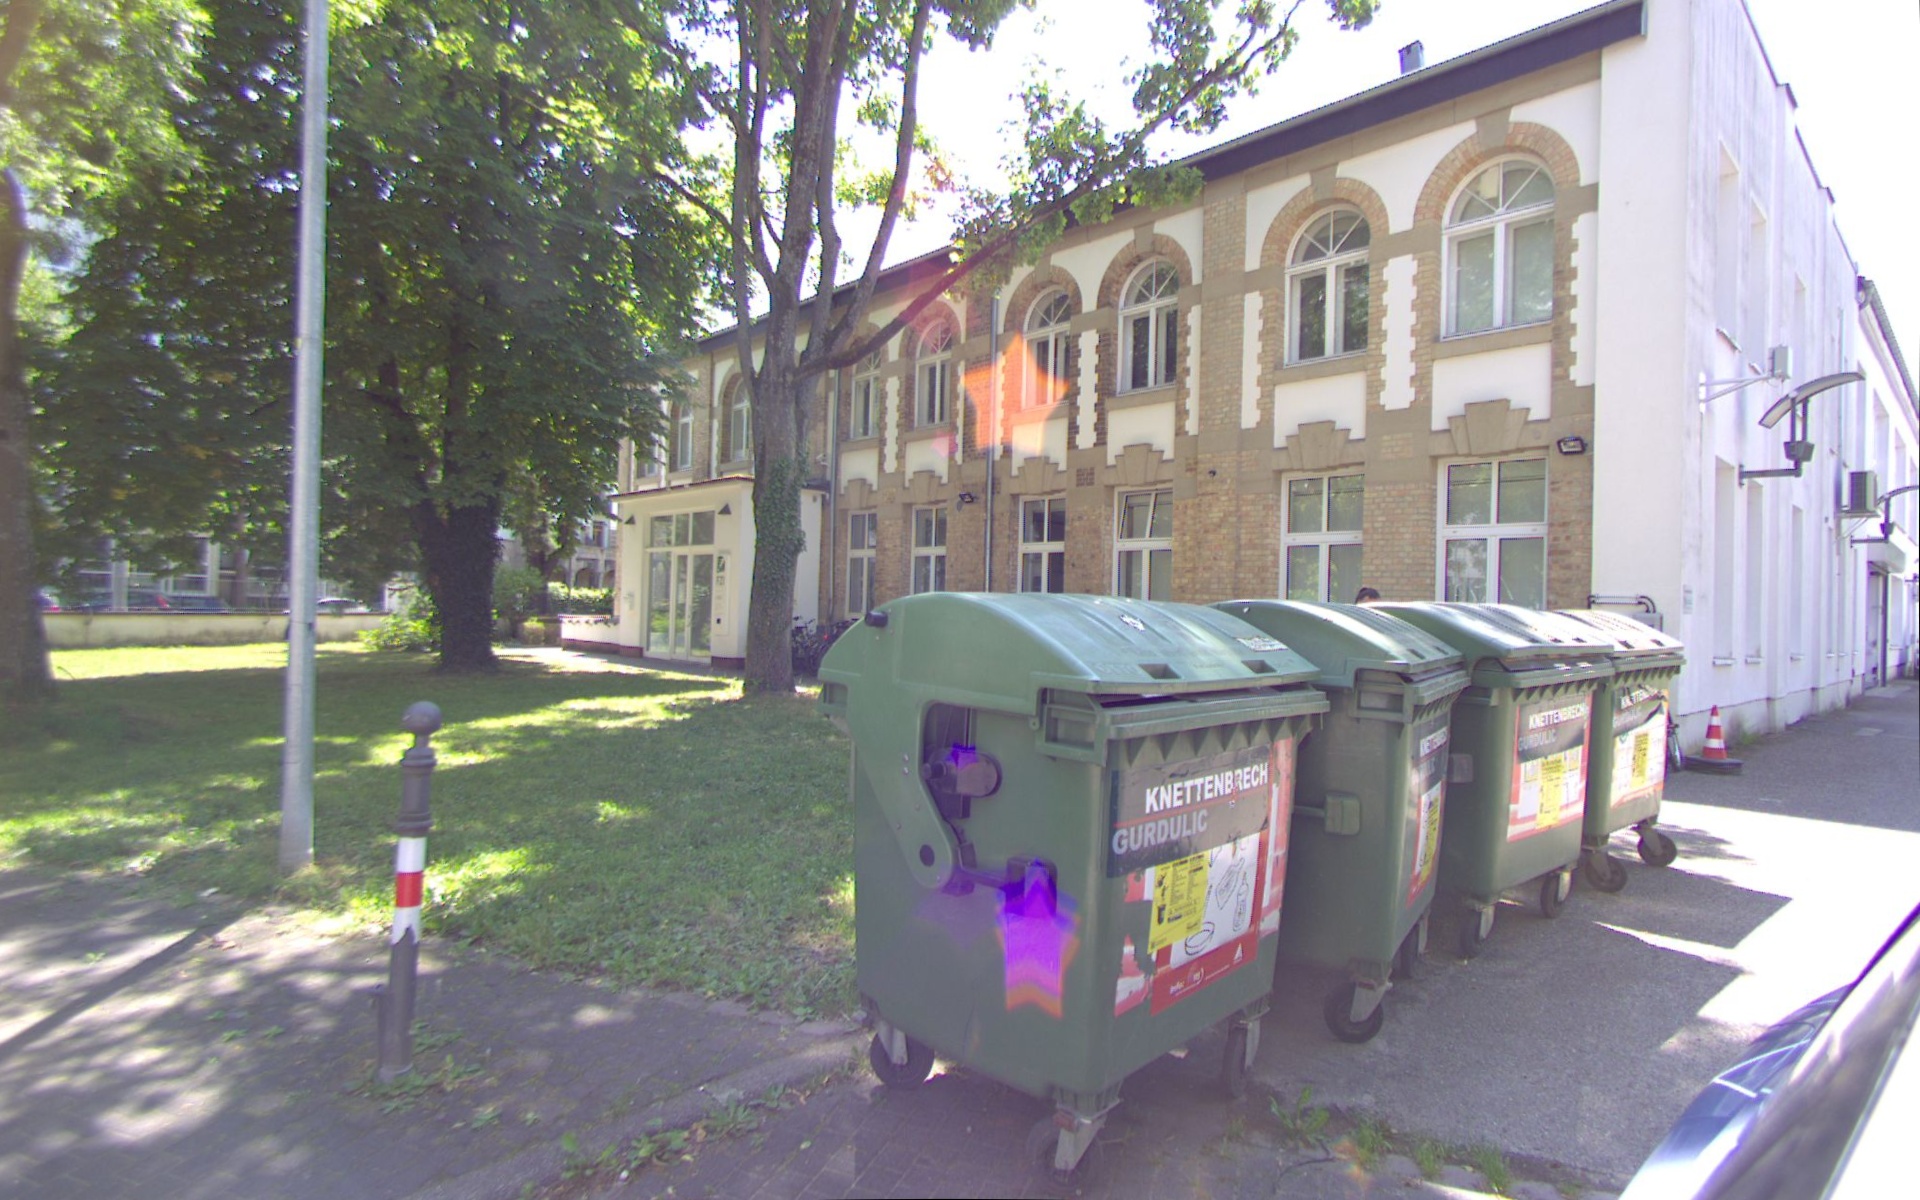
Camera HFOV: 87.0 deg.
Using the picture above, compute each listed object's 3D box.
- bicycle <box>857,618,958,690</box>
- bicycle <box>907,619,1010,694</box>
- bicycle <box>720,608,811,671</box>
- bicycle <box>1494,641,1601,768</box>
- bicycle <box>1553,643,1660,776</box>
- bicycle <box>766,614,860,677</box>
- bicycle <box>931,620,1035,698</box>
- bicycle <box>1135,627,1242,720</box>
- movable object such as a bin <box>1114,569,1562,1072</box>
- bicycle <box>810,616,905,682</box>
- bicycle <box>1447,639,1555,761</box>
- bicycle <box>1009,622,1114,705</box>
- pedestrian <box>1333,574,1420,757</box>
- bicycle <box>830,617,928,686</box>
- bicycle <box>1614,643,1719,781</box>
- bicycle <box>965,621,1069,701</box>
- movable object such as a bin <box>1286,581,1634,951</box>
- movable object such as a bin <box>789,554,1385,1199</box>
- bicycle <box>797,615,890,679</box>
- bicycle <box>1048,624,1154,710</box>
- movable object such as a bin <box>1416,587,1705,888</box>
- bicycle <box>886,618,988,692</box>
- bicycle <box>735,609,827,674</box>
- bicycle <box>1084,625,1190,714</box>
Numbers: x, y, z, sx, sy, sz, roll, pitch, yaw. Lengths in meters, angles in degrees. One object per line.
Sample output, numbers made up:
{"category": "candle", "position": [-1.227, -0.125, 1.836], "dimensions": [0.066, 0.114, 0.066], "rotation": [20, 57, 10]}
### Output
{"category": "bicycle", "position": [-0.842, 0.864, 16.635], "dimensions": [1.795, 1.115, 0.405], "rotation": [1, 0, -43]}
{"category": "bicycle", "position": [-0.003, 0.858, 15.838], "dimensions": [1.795, 1.115, 0.405], "rotation": [1, 0, -43]}
{"category": "bicycle", "position": [-3.812, 0.756, 19.946], "dimensions": [1.796, 1.115, 0.405], "rotation": [-3, 2, -43]}
{"category": "bicycle", "position": [5.834, 0.983, 10.007], "dimensions": [1.795, 1.115, 0.405], "rotation": [1, 0, -43]}
{"category": "bicycle", "position": [6.156, 0.990, 9.600], "dimensions": [1.795, 1.115, 0.405], "rotation": [1, 0, -43]}
{"category": "bicycle", "position": [-2.717, 0.823, 18.858], "dimensions": [1.795, 1.115, 0.405], "rotation": [1, 0, -43]}
{"category": "bicycle", "position": [0.373, 0.866, 15.455], "dimensions": [1.795, 1.115, 0.405], "rotation": [1, 0, -43]}
{"category": "bicycle", "position": [2.998, 0.921, 13.161], "dimensions": [1.795, 1.115, 0.405], "rotation": [1, 0, -43]}
{"category": "movable object such as a bin", "position": [1.444, 0.647, 3.836], "dimensions": [1.353, 1.476, 1.077], "rotation": [1, 0, -42]}
{"category": "bicycle", "position": [-1.801, 0.842, 18.032], "dimensions": [1.795, 1.115, 0.405], "rotation": [1, 0, -43]}
{"category": "bicycle", "position": [5.559, 0.977, 10.350], "dimensions": [1.795, 1.115, 0.405], "rotation": [1, 0, -43]}
{"category": "bicycle", "position": [1.485, 0.889, 14.566], "dimensions": [1.795, 1.115, 0.405], "rotation": [1, 0, -43]}
{"category": "pedestrian", "position": [4.227, 0.635, 10.268], "dimensions": [0.677, 1.771, 0.551], "rotation": [1, -1, -41]}
{"category": "bicycle", "position": [-1.355, 0.853, 17.199], "dimensions": [1.795, 1.115, 0.405], "rotation": [1, 0, -43]}
{"category": "bicycle", "position": [6.506, 0.974, 9.285], "dimensions": [1.795, 1.115, 0.405], "rotation": [1, 0, -43]}
{"category": "bicycle", "position": [0.875, 0.876, 15.041], "dimensions": [1.795, 1.115, 0.405], "rotation": [1, 0, -43]}
{"category": "movable object such as a bin", "position": [2.430, 0.663, 4.904], "dimensions": [1.353, 1.476, 1.077], "rotation": [1, 0, -42]}
{"category": "movable object such as a bin", "position": [0.383, 0.644, 2.926], "dimensions": [1.353, 1.476, 1.077], "rotation": [1, 0, -42]}
{"category": "bicycle", "position": [-2.124, 0.835, 18.600], "dimensions": [1.795, 1.115, 0.405], "rotation": [1, 0, -43]}
{"category": "bicycle", "position": [1.990, 0.900, 14.064], "dimensions": [1.795, 1.115, 0.405], "rotation": [1, 0, -43]}
{"category": "movable object such as a bin", "position": [3.482, 0.681, 5.855], "dimensions": [1.353, 1.476, 1.077], "rotation": [1, 0, -42]}
{"category": "bicycle", "position": [-0.345, 0.850, 16.233], "dimensions": [1.795, 1.115, 0.405], "rotation": [1, 0, -43]}
{"category": "bicycle", "position": [-3.394, 0.766, 19.324], "dimensions": [1.796, 1.115, 0.405], "rotation": [-3, 2, -43]}
{"category": "bicycle", "position": [2.417, 0.909, 13.679], "dimensions": [1.795, 1.115, 0.405], "rotation": [1, 0, -43]}
